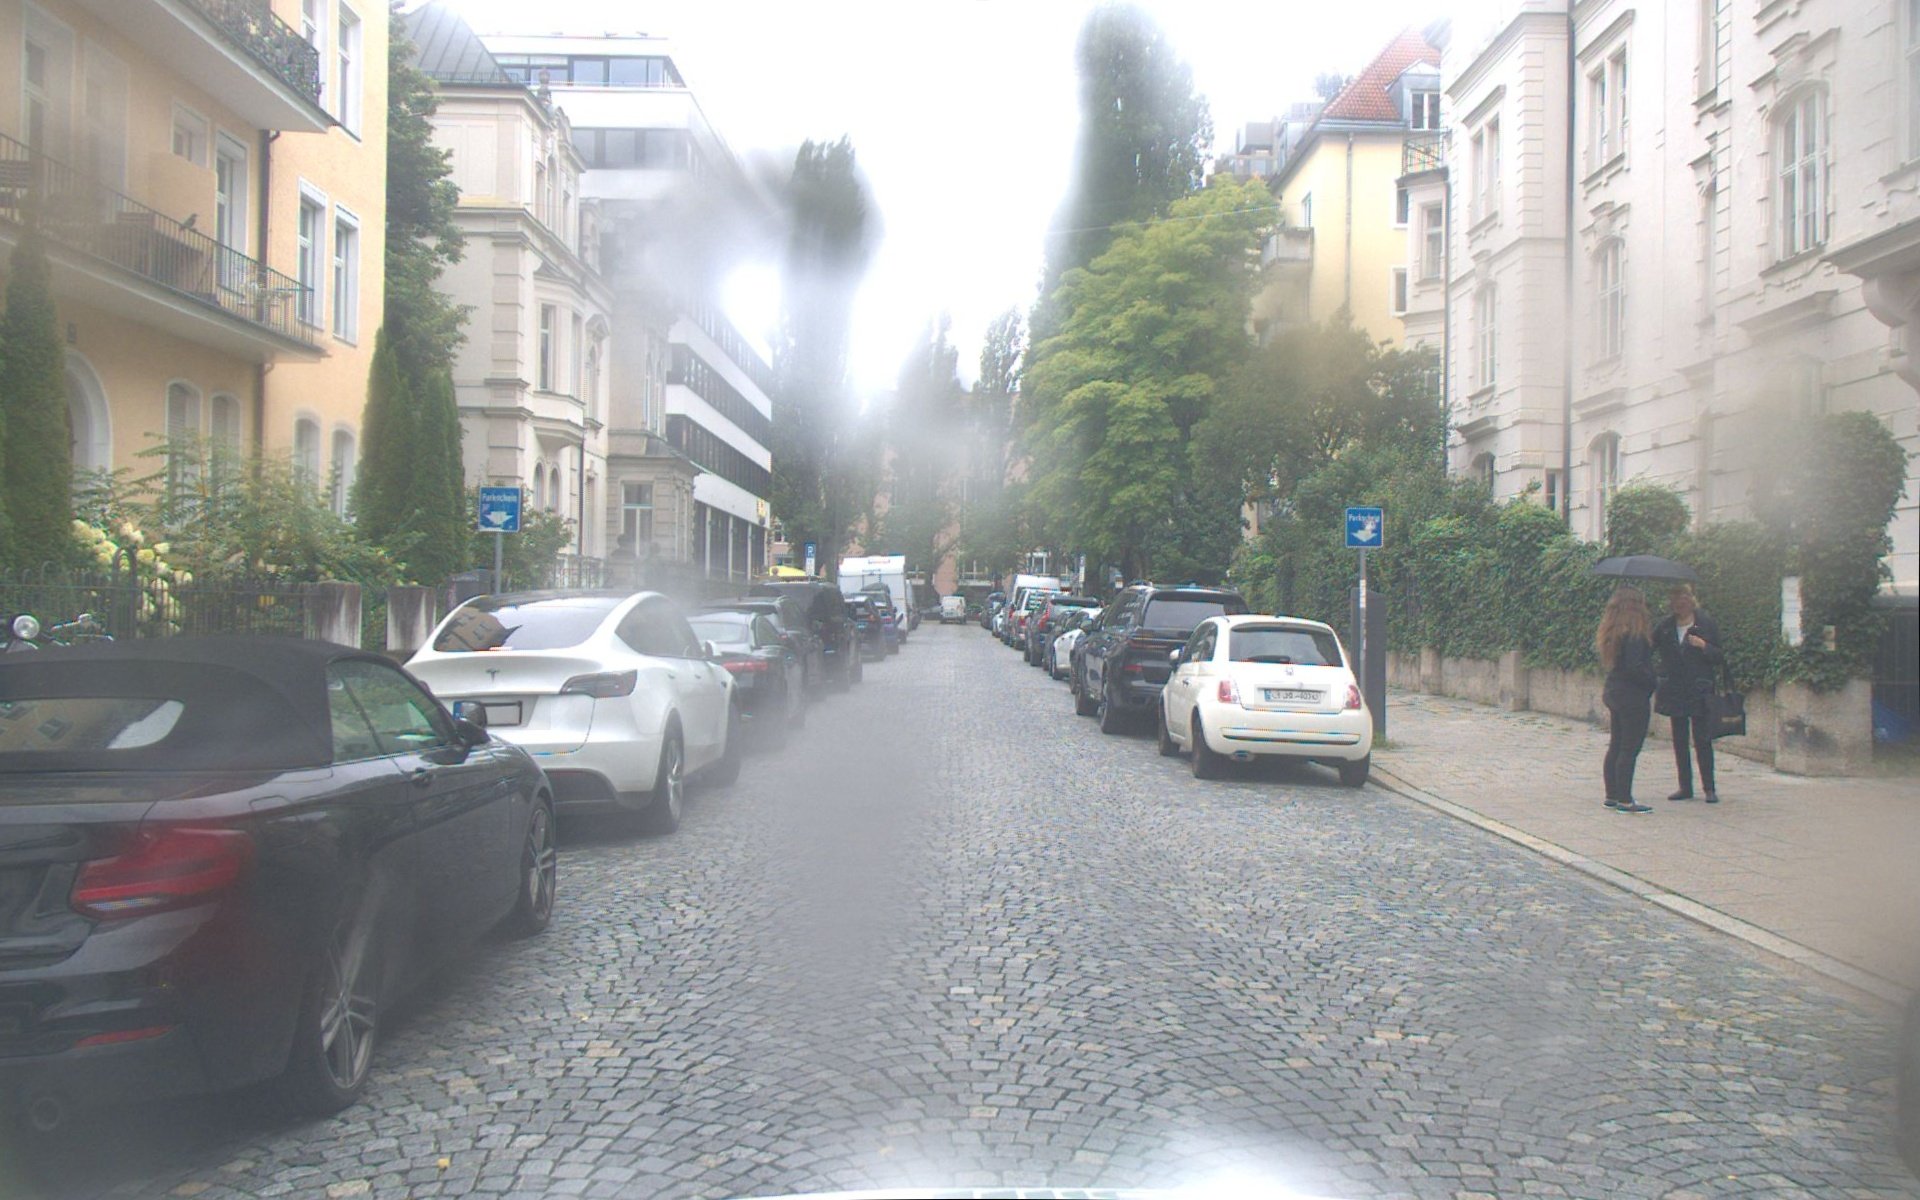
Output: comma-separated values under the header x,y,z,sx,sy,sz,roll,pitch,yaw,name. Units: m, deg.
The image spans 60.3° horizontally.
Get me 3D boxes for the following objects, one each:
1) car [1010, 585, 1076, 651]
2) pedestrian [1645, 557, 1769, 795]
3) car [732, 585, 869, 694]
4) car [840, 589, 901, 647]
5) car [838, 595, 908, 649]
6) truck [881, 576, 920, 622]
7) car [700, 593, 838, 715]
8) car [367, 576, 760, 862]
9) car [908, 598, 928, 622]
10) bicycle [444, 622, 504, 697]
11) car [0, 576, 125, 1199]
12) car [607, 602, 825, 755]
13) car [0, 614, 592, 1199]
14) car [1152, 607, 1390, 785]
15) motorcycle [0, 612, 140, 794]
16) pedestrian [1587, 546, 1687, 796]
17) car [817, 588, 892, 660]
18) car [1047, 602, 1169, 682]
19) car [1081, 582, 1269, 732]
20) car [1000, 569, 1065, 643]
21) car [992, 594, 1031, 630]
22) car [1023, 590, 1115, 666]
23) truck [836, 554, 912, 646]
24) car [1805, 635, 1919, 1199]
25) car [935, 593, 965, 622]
x,y,z,sx,sy,sz,roll,pitch,yaw,name
2.701,0.575,54.901,1.764,1.983,4.859,3,0,-1,car
5.963,0.590,13.218,0.619,1.840,0.655,1,-1,-23,pedestrian
-2.759,0.638,29.669,1.942,1.768,4.722,1,0,0,car
-2.848,0.565,53.294,1.856,1.781,4.166,0,0,-2,car
-2.477,0.624,48.030,1.900,1.485,4.056,1,0,-1,car
-3.138,-0.041,88.095,1.953,2.388,4.067,1,0,0,truck
-2.763,0.760,24.643,1.547,1.618,4.055,-1,-1,0,car
-2.618,0.722,12.024,1.737,1.676,4.391,1,0,0,car
-2.893,0.687,113.940,1.250,1.568,3.118,1,0,0,car
-6.938,0.829,23.660,0.344,1.020,1.573,1,0,1,bicycle
-2.573,0.731,1.123,1.737,1.563,4.540,0,0,-1,car
-2.532,0.773,18.156,1.737,1.454,4.390,1,0,0,car
-2.643,0.762,6.125,1.738,1.383,4.388,1,0,-3,car
2.958,0.861,16.431,1.597,1.495,3.658,3,0,-1,car
-6.555,0.700,11.939,0.481,1.215,1.579,1,-1,-1,motorcycle
5.236,0.536,12.821,0.563,1.882,0.682,0,0,7,pedestrian
-2.673,0.601,42.779,1.738,1.748,4.389,1,0,-1,car
2.839,0.783,32.613,1.738,1.454,4.387,1,0,-4,car
2.677,0.672,21.794,1.836,1.702,5.491,1,0,1,car
2.610,0.182,60.726,1.857,2.468,5.610,4,0,-1,car
2.269,0.529,73.206,1.567,1.512,3.478,1,0,-1,car
2.716,0.684,42.154,1.923,1.789,4.953,1,0,-1,car
-3.005,-0.028,59.302,2.457,3.084,6.383,-1,0,-2,truck
3.058,0.852,1.932,1.615,1.446,4.631,4,-1,-1,car
-0.643,0.507,112.682,1.955,1.970,4.000,1,0,1,car
